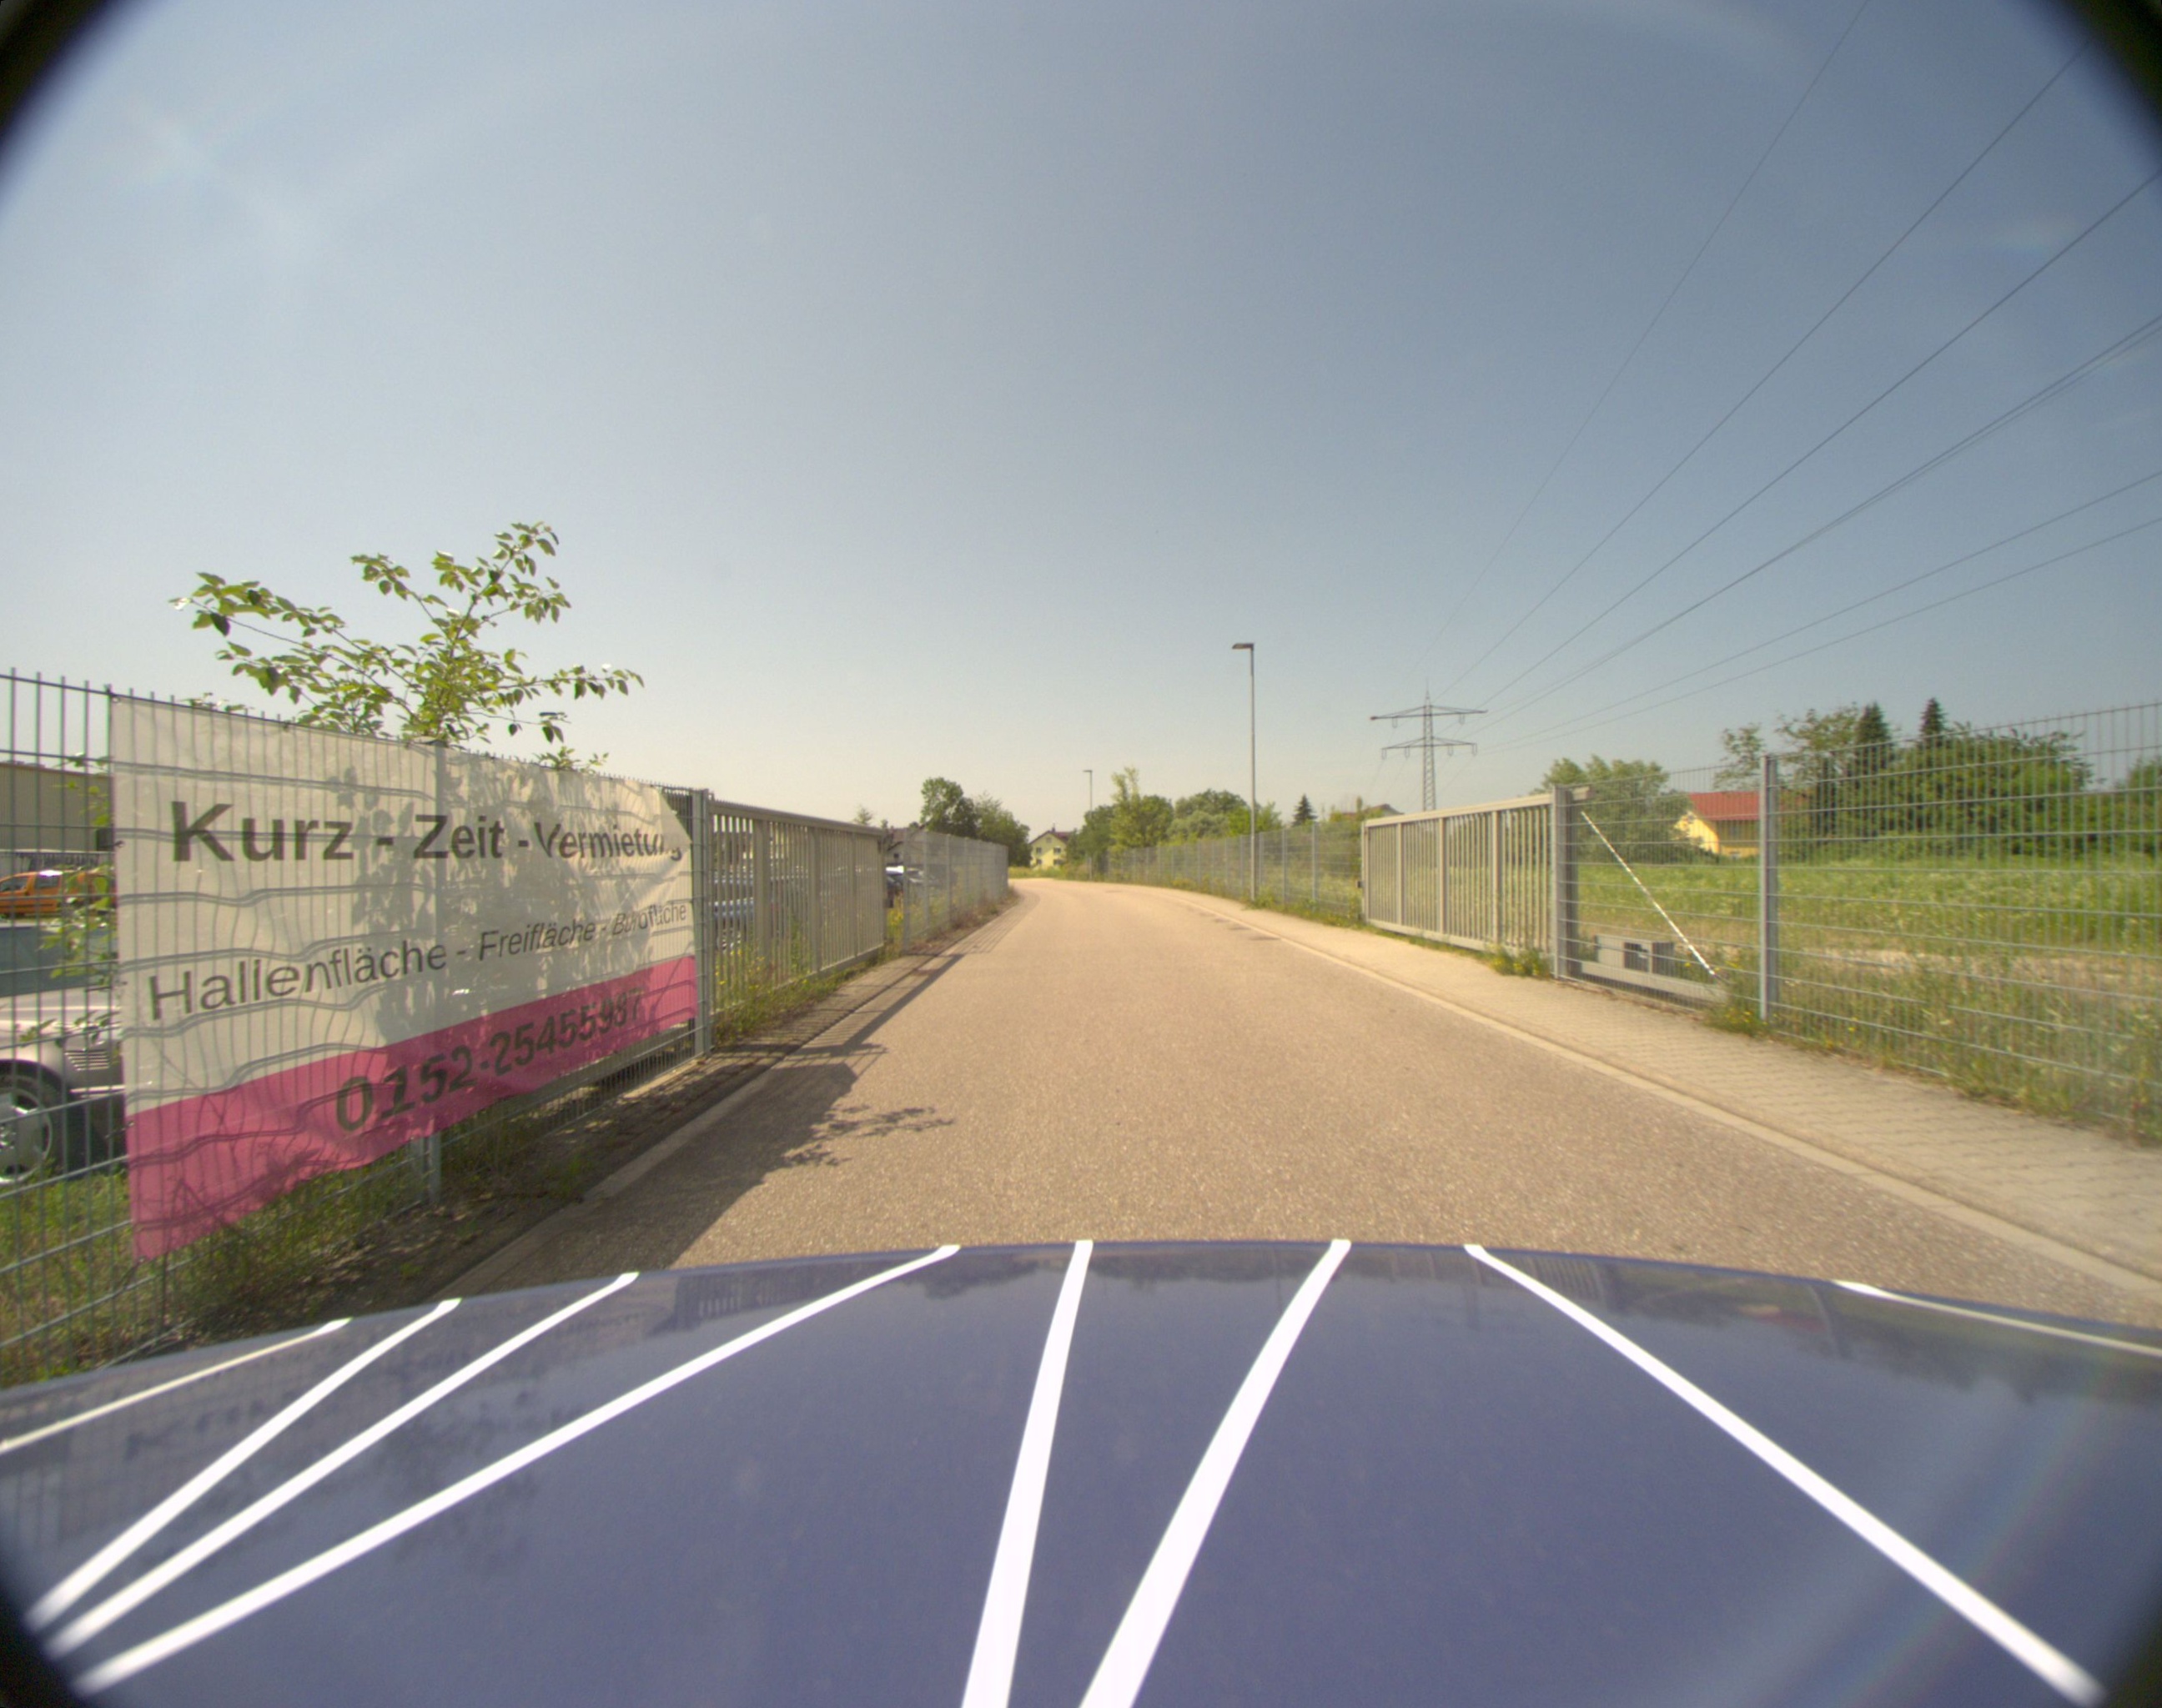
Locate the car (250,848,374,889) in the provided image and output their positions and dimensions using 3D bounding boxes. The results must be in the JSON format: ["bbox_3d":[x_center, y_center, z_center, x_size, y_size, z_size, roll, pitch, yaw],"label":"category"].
[{"bbox_3d":[-42.202,0.792,41.842,4.393,2.158,1.971,0,-1,-18],"label":"car"}]

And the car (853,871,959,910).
[{"bbox_3d":[-7.649,1.579,33.458,4.292,1.627,1.764,0,-1,-3],"label":"car"}]

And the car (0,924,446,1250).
[{"bbox_3d":[-6.266,1.196,4.383,3.672,1.346,1.740,-1,0,-1],"label":"car"}]

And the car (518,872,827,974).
[{"bbox_3d":[-7.142,1.177,13.603,4.520,1.398,1.767,-3,1,2],"label":"car"}]

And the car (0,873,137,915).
[{"bbox_3d":[-38.862,1.468,28.305,4.393,1.476,1.750,0,-1,-18],"label":"car"}]

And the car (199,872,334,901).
[{"bbox_3d":[-41.591,1.651,38.921,4.392,1.369,1.840,0,-1,-15],"label":"car"}]

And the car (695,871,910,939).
[{"bbox_3d":[-6.615,1.192,18.428,4.521,1.398,1.838,-1,0,-2],"label":"car"}]

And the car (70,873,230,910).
[{"bbox_3d":[-40.888,1.621,33.502,4.003,1.455,1.997,-1,0,-17],"label":"car"}]

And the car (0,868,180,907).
[{"bbox_3d":[-39.845,1.301,30.535,4.393,1.476,1.750,0,-1,-18],"label":"car"}]

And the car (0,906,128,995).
[{"bbox_3d":[-19.740,1.680,12.786,4.526,1.343,1.624,-1,0,-14],"label":"car"}]

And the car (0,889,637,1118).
[{"bbox_3d":[-6.658,1.224,6.877,4.175,1.465,1.637,-4,1,-3],"label":"car"}]

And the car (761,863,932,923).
[{"bbox_3d":[-6.654,1.090,21.841,4.219,1.398,1.839,-3,1,4],"label":"car"}]

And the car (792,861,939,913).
[{"bbox_3d":[-7.077,1.077,25.175,4.219,1.398,1.839,-3,1,4],"label":"car"}]

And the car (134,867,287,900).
[{"bbox_3d":[-41.385,1.381,36.254,4.393,1.476,1.971,0,-1,-18],"label":"car"}]
